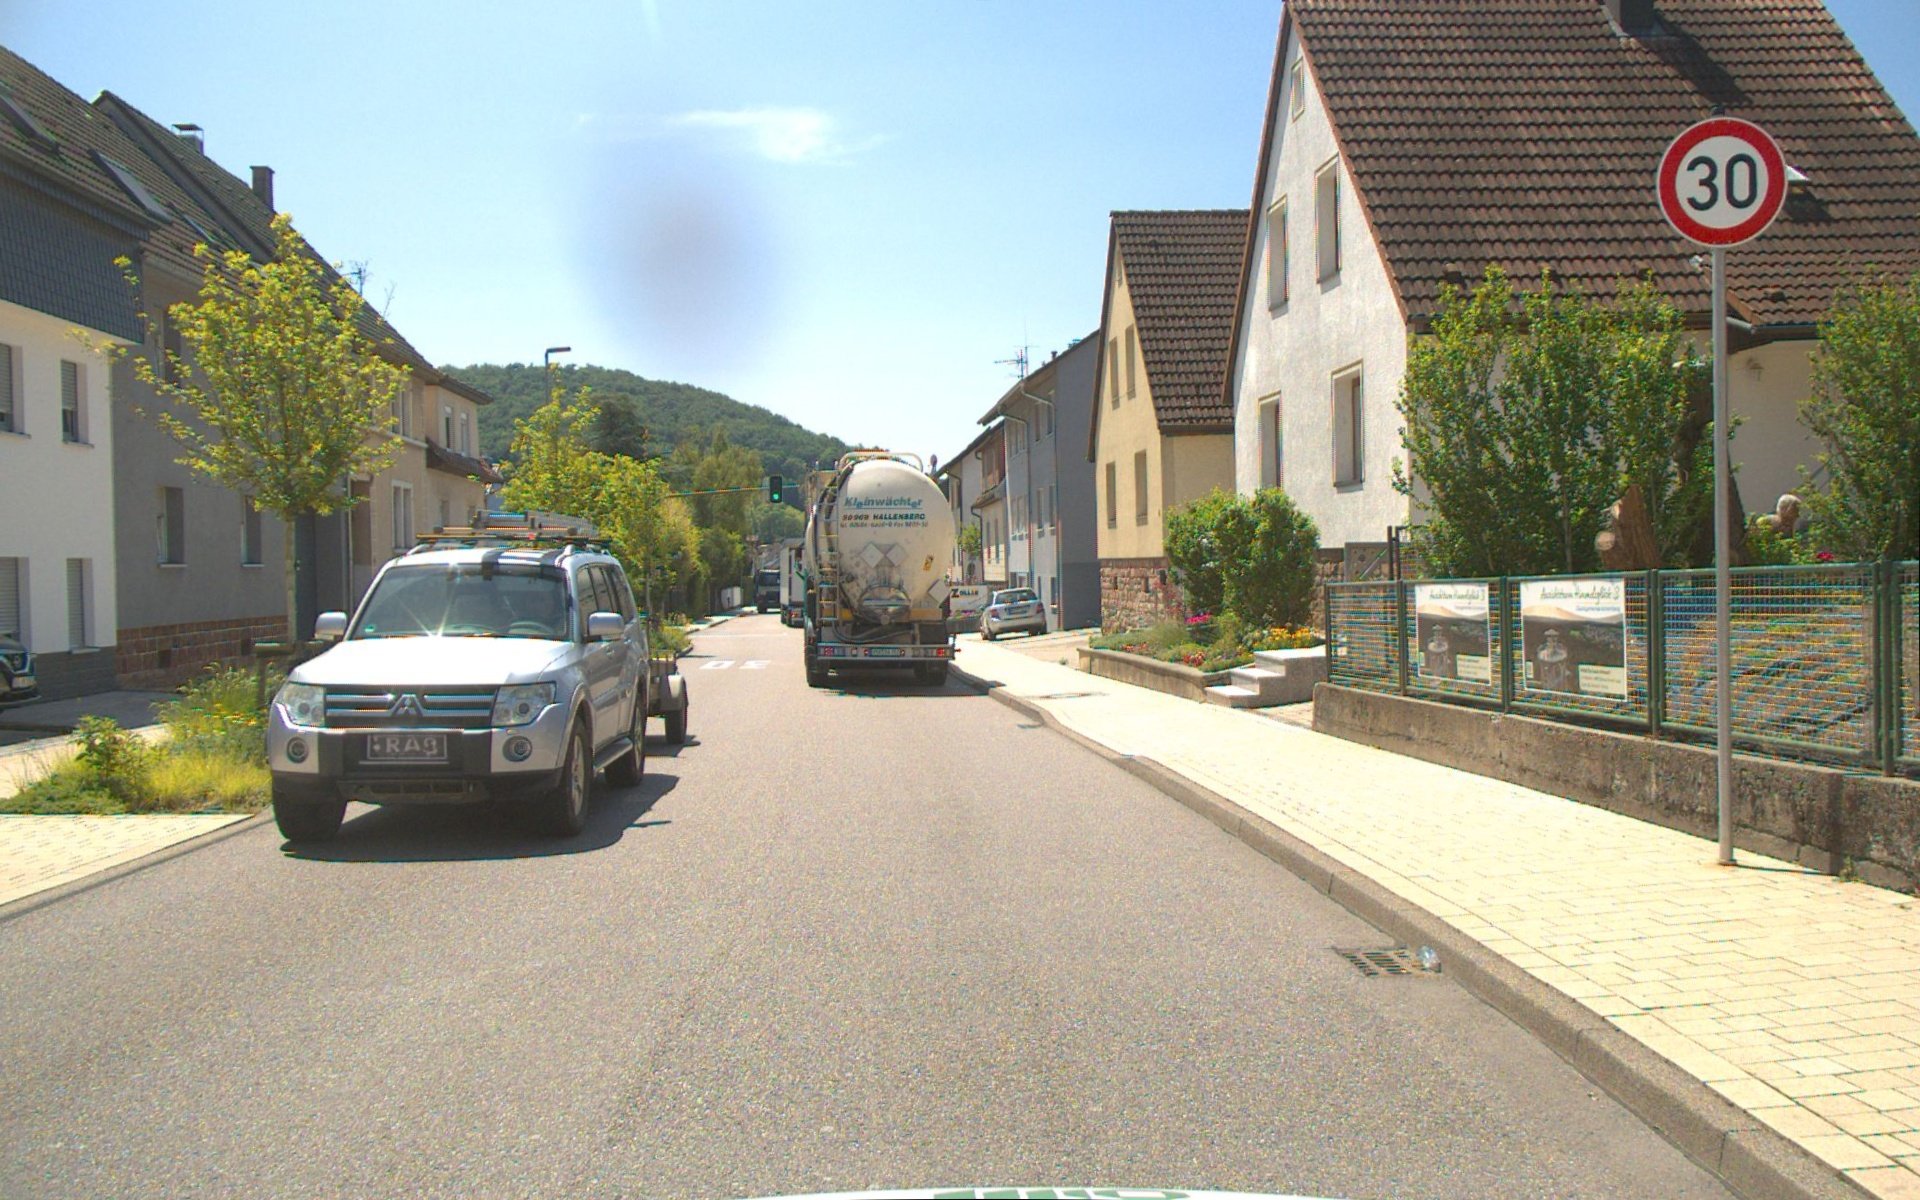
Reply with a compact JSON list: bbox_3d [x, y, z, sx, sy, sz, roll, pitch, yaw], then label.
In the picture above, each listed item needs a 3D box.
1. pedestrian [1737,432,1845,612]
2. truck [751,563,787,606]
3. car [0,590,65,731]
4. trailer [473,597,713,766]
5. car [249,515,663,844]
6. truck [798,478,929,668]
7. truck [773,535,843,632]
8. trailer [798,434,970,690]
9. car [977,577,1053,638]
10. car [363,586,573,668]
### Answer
[{"bbox_3d":[7.932,-0.733,15.811,0.592,1.643,0.552,-6,0,-5],"label":"pedestrian"},{"bbox_3d":[-15.806,-1.221,137.260,2.675,3.430,8.625,0,0,-5],"label":"truck"},{"bbox_3d":[-12.682,0.675,18.880,3.909,1.572,1.831,0,0,-5],"label":"car"},{"bbox_3d":[-3.470,0.698,16.372,1.543,1.420,4.400,-1,0,-2],"label":"trailer"},{"bbox_3d":[-3.333,0.469,11.900,1.852,1.893,4.574,0,0,-4],"label":"car"},{"bbox_3d":[-2.330,-0.566,38.182,2.754,4.006,6.092,0,0,-5],"label":"truck"},{"bbox_3d":[-8.142,-0.709,87.491,2.795,4.761,11.312,1,-1,-10],"label":"truck"},{"bbox_3d":[-1.698,-0.610,31.578,2.742,4.071,10.311,0,0,-6],"label":"trailer"},{"bbox_3d":[1.585,0.202,49.479,1.756,1.567,4.516,-5,0,-3],"label":"car"},{"bbox_3d":[-11.202,0.593,37.907,4.310,1.781,1.876,-1,0,-6],"label":"car"}]
